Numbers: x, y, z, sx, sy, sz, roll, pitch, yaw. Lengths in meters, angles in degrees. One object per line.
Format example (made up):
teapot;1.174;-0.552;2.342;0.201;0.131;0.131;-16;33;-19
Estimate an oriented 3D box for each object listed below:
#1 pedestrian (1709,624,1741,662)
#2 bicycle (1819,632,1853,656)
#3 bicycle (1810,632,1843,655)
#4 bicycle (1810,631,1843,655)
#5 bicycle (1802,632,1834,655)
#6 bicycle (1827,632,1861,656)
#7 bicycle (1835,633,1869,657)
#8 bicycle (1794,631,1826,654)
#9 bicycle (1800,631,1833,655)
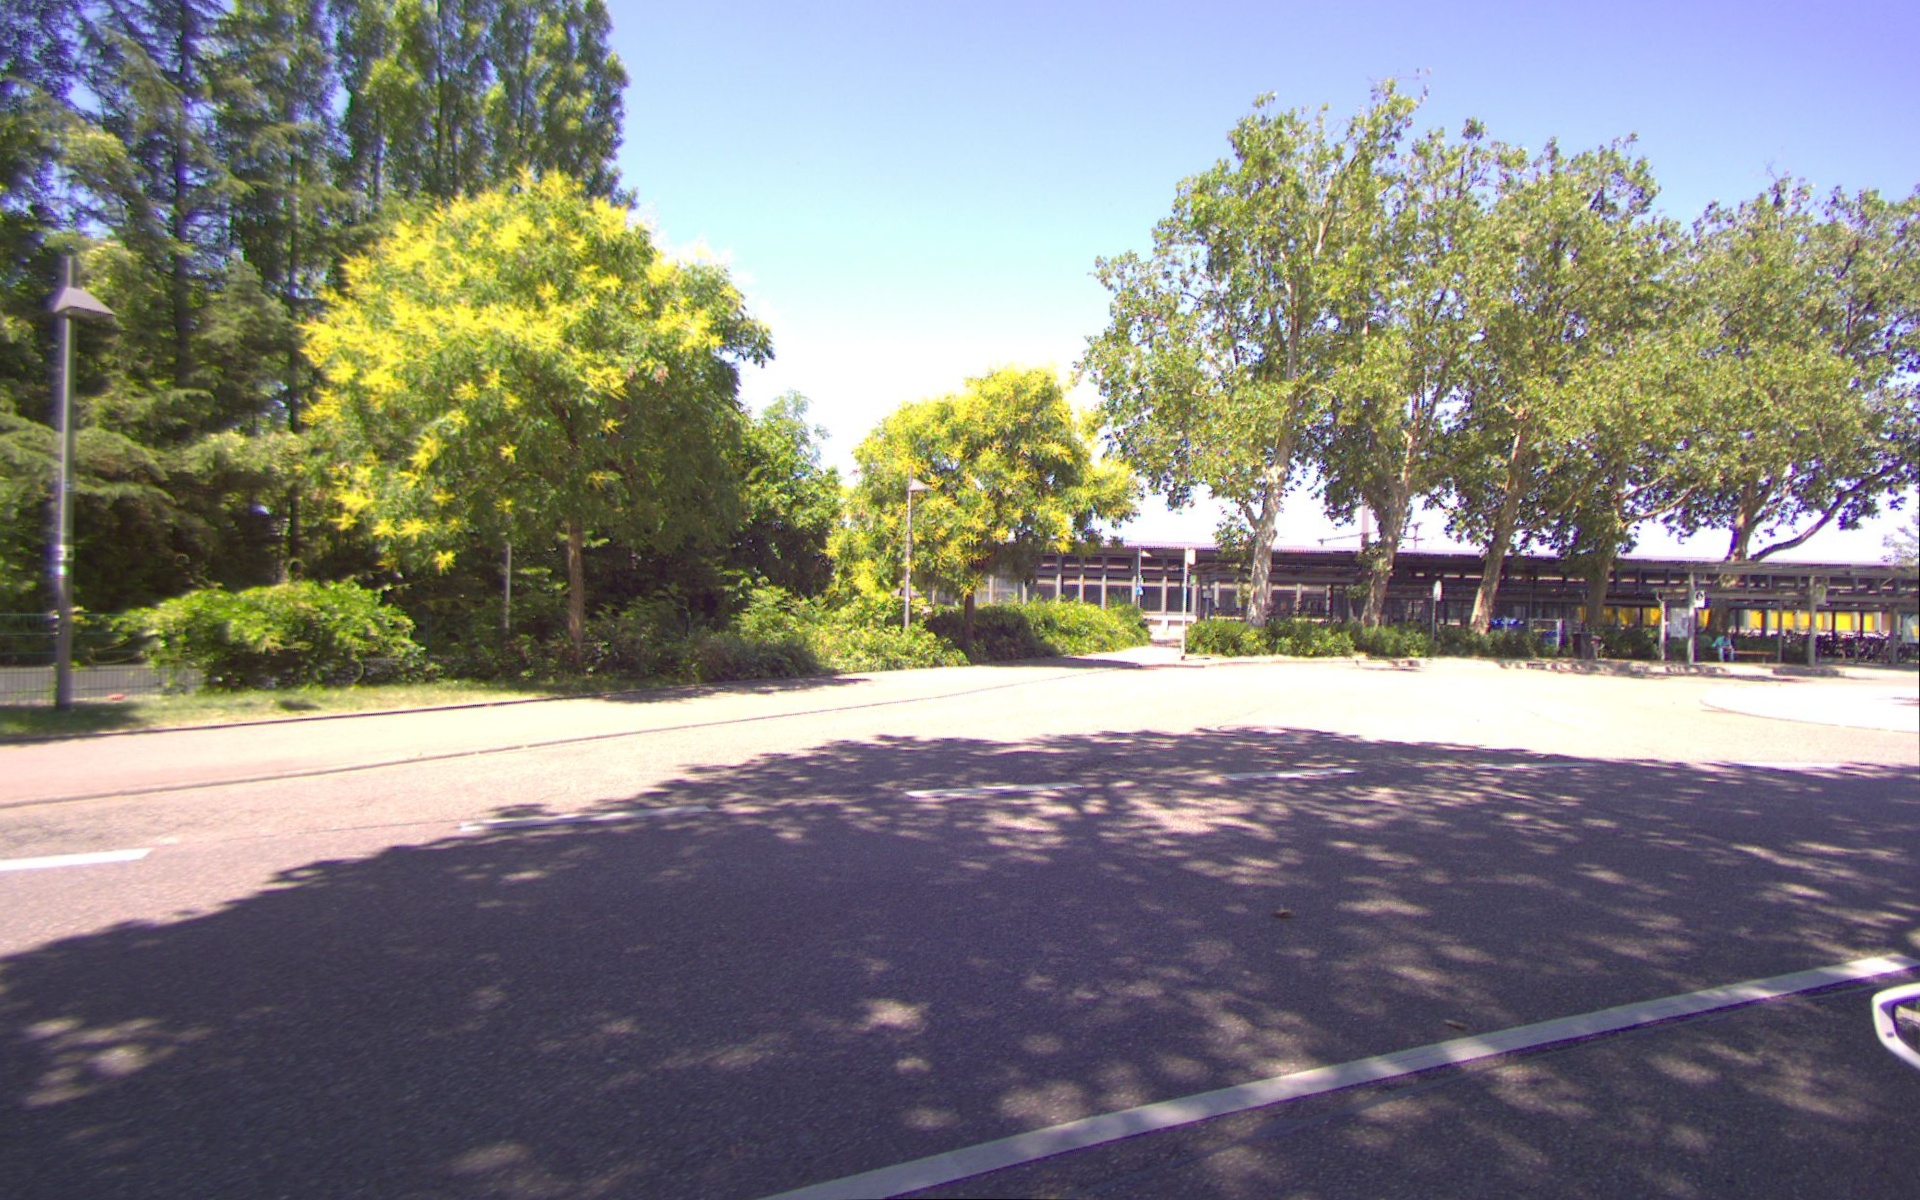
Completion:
pedestrian;31.172;1.744;40.936;0.806;1.483;0.607;1;0;-5
bicycle;42.736;2.126;49.019;0.379;1.108;1.386;3;-1;0
bicycle;43.533;2.193;50.466;0.379;1.108;1.386;3;-1;0
bicycle;42.280;2.101;49.028;0.379;1.108;1.386;3;-1;0
bicycle;43.113;2.170;50.460;0.379;1.108;1.386;3;-1;0
bicycle;43.136;2.148;49.017;0.379;1.108;1.386;3;-1;-1
bicycle;43.543;2.170;49.024;0.379;1.108;1.386;3;-1;0
bicycle;42.690;2.147;50.464;0.379;1.108;1.386;3;-1;0
bicycle;41.824;2.077;49.067;0.379;1.108;1.386;3;-1;0
